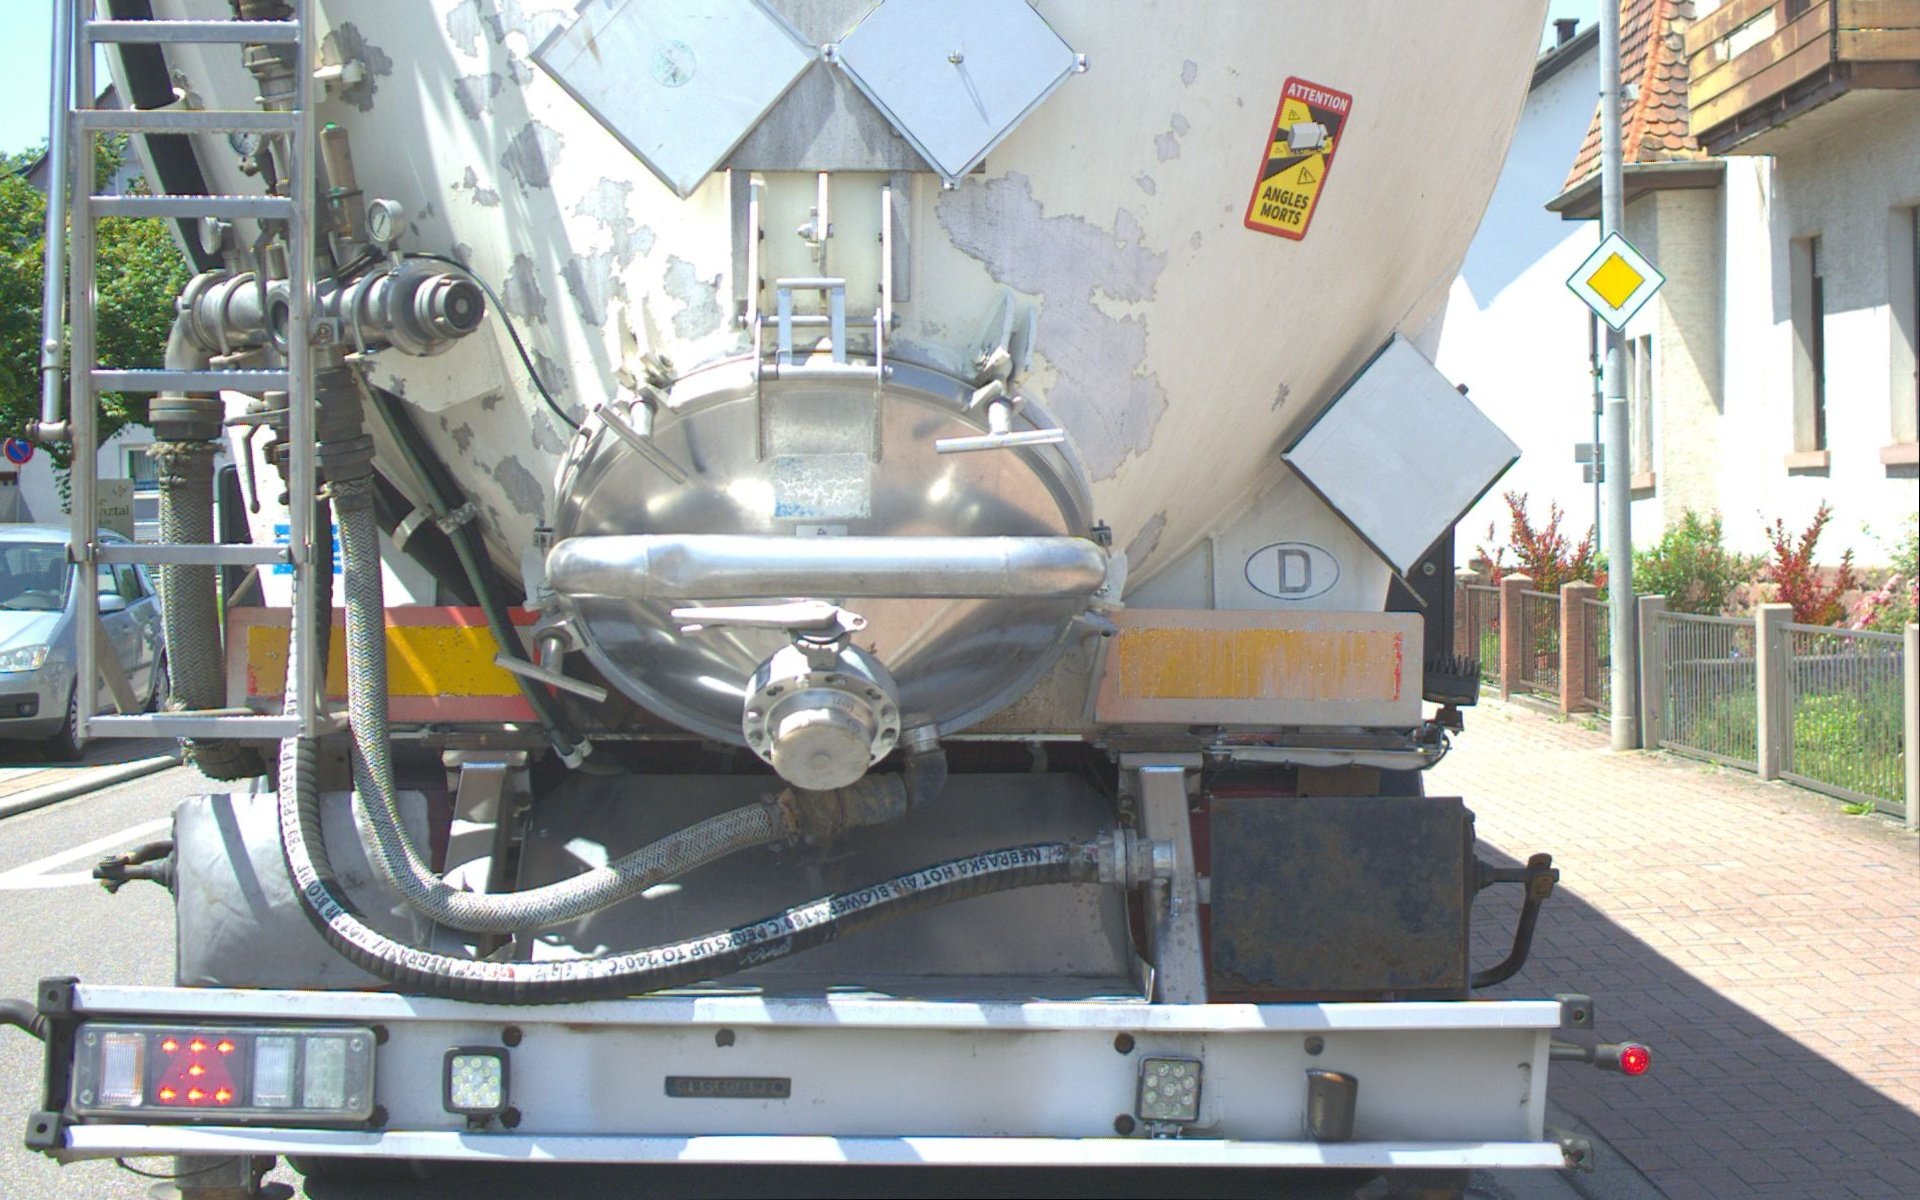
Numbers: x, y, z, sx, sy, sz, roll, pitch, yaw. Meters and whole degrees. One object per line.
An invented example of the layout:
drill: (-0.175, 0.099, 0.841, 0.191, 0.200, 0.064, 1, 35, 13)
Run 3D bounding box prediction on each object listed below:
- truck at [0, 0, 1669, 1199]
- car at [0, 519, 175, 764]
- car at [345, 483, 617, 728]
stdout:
truck: (-0.332, -0.759, 9.741, 2.641, 4.002, 9.562, 0, 1, 0)
car: (-6.750, 0.219, 24.073, 1.697, 1.575, 3.838, 0, 1, -1)
car: (-3.962, -0.011, 29.077, 1.655, 1.848, 4.464, -2, 1, -1)
